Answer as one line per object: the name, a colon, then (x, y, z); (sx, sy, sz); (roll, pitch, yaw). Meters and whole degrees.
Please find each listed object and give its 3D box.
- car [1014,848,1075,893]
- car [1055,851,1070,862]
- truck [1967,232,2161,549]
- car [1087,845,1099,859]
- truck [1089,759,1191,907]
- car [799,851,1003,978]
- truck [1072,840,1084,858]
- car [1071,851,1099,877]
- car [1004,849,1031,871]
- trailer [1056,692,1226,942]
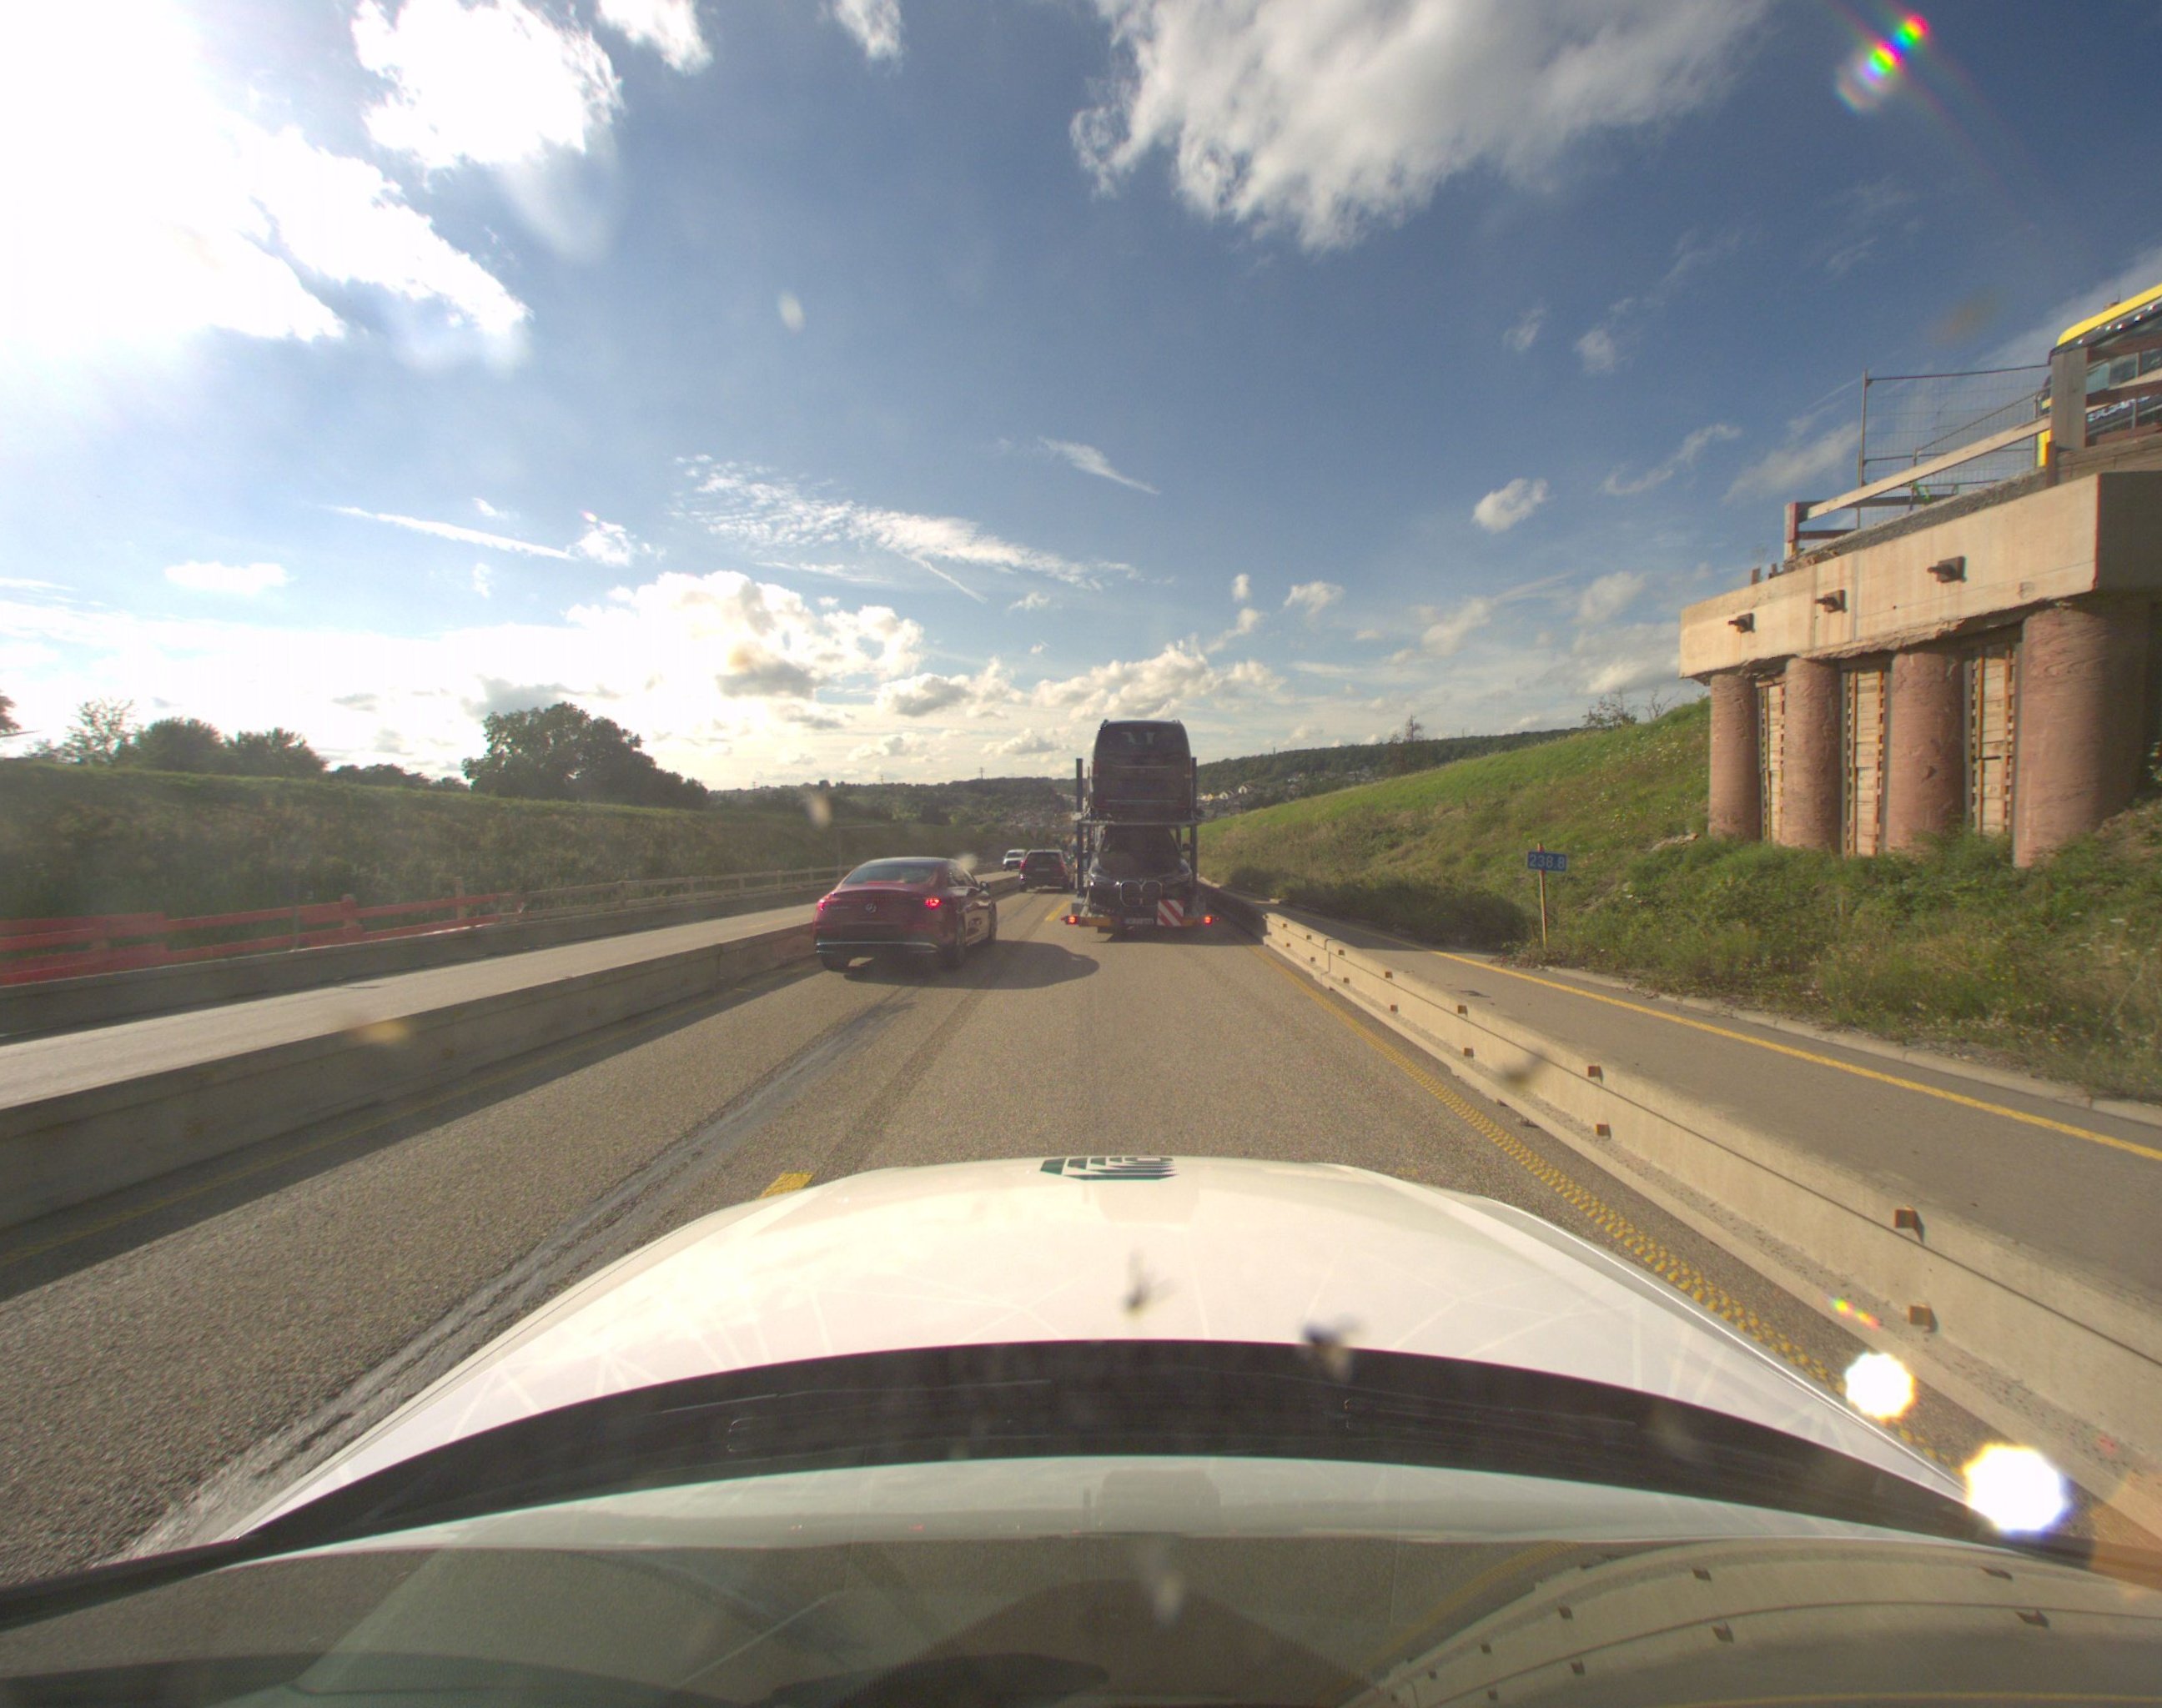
car: (-1.338, 0.597, 32.193); (1.985, 1.625, 4.753); (0, 0, 2)
car: (-2.542, 0.315, 111.333); (1.727, 1.425, 4.630); (-4, 0, 2)
truck: (18.622, -6.535, 11.374); (9.231, 3.227, 2.960); (-1, 0, 0)
car: (2.658, -0.338, 173.761); (2.101, 2.835, 6.144); (-4, 0, 4)
truck: (1.751, -0.580, 24.894); (2.667, 3.922, 6.032); (-1, 0, 3)
car: (-2.388, 0.718, 12.111); (1.816, 1.492, 4.687); (0, 1, 2)
truck: (-0.782, -1.090, 192.069); (2.607, 4.153, 5.779); (-1, 0, -1)
car: (0.327, 0.663, 57.776); (1.789, 1.596, 4.745); (-3, 1, 2)
car: (-5.326, 0.467, 68.561); (1.728, 1.659, 4.219); (-4, 1, 1)
trailer: (1.352, -0.621, 19.041); (2.696, 4.029, 11.431); (-1, 0, 4)
